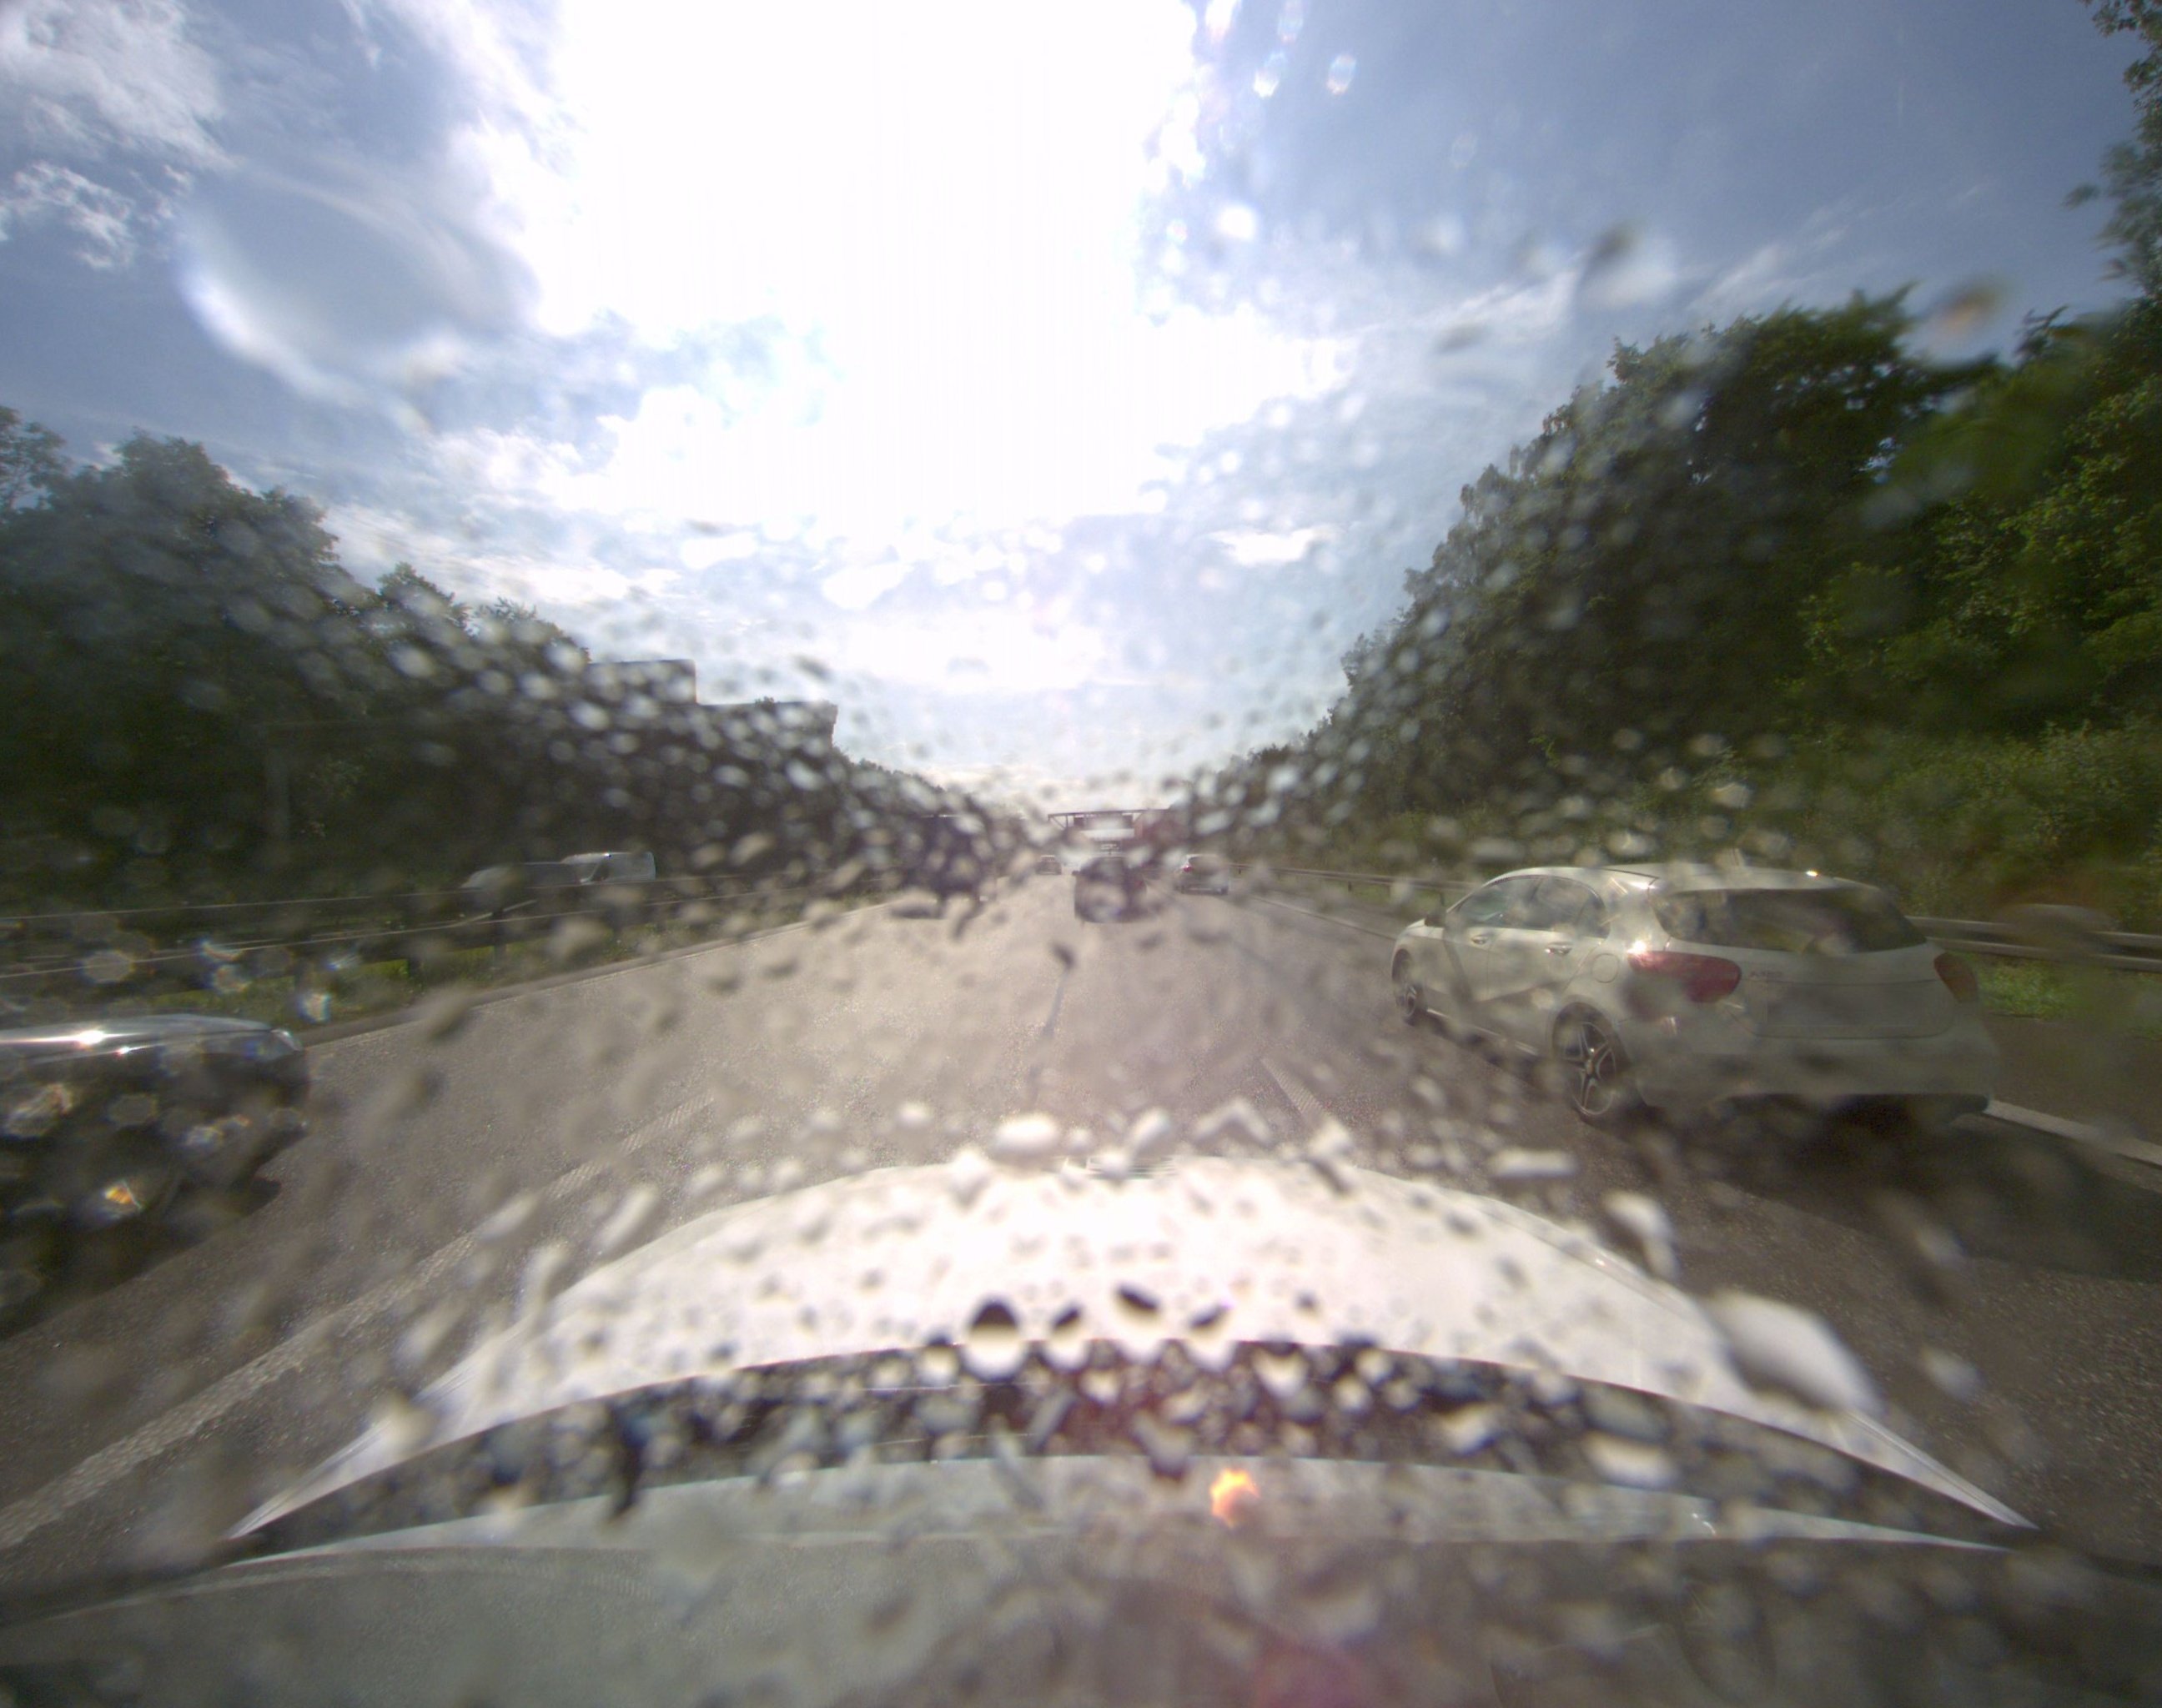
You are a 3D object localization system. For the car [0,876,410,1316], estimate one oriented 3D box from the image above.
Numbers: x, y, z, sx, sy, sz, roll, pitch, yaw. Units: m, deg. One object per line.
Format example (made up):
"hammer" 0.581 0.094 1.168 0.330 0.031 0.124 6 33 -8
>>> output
"car" -4.496 0.825 1.892 1.788 1.419 4.840 0 0 1

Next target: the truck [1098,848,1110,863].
"truck" 4.526 0.255 158.684 2.185 2.875 4.849 0 0 0

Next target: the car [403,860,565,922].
"car" -17.360 1.019 23.954 1.741 1.634 4.002 0 0 2

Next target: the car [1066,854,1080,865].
"car" -1.054 0.685 107.969 1.745 1.457 3.389 0 0 0

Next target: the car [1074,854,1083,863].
"car" -0.329 0.690 134.201 1.455 1.393 3.311 0 0 0

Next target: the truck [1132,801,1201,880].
"truck" 5.657 -0.766 57.296 3.636 4.720 16.785 0 0 2

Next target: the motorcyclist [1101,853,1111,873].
"motorcyclist" 2.069 0.775 68.063 0.799 1.633 1.013 0 0 0

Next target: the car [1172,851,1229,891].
"car" 4.591 0.623 31.734 1.675 1.442 3.904 0 0 0

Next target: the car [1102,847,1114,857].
"car" 3.735 -0.214 113.480 1.548 1.383 3.209 0 0 0

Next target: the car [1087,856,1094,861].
"car" 2.061 1.026 182.884 1.544 1.267 3.484 0 0 0

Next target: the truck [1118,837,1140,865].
"truck" 8.124 -0.474 139.178 3.244 4.479 12.426 0 0 2

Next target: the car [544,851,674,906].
"car" -20.657 1.003 36.046 2.137 2.249 5.982 0 0 2

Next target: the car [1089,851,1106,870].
"car" 1.506 0.612 75.503 1.526 1.746 3.484 0 0 0

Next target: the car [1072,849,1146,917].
"car" 0.663 0.674 20.650 1.712 1.567 3.484 0 0 0

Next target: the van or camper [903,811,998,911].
"van or camper" -3.789 0.201 24.631 1.987 2.669 5.384 0 0 0

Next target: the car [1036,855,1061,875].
"car" -2.498 0.841 63.244 1.848 1.551 3.484 0 0 0

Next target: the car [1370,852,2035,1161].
"car" 3.625 0.715 5.888 1.686 1.425 4.222 0 0 2

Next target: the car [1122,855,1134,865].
"car" 6.396 0.769 110.777 1.548 1.383 3.209 0 0 0
